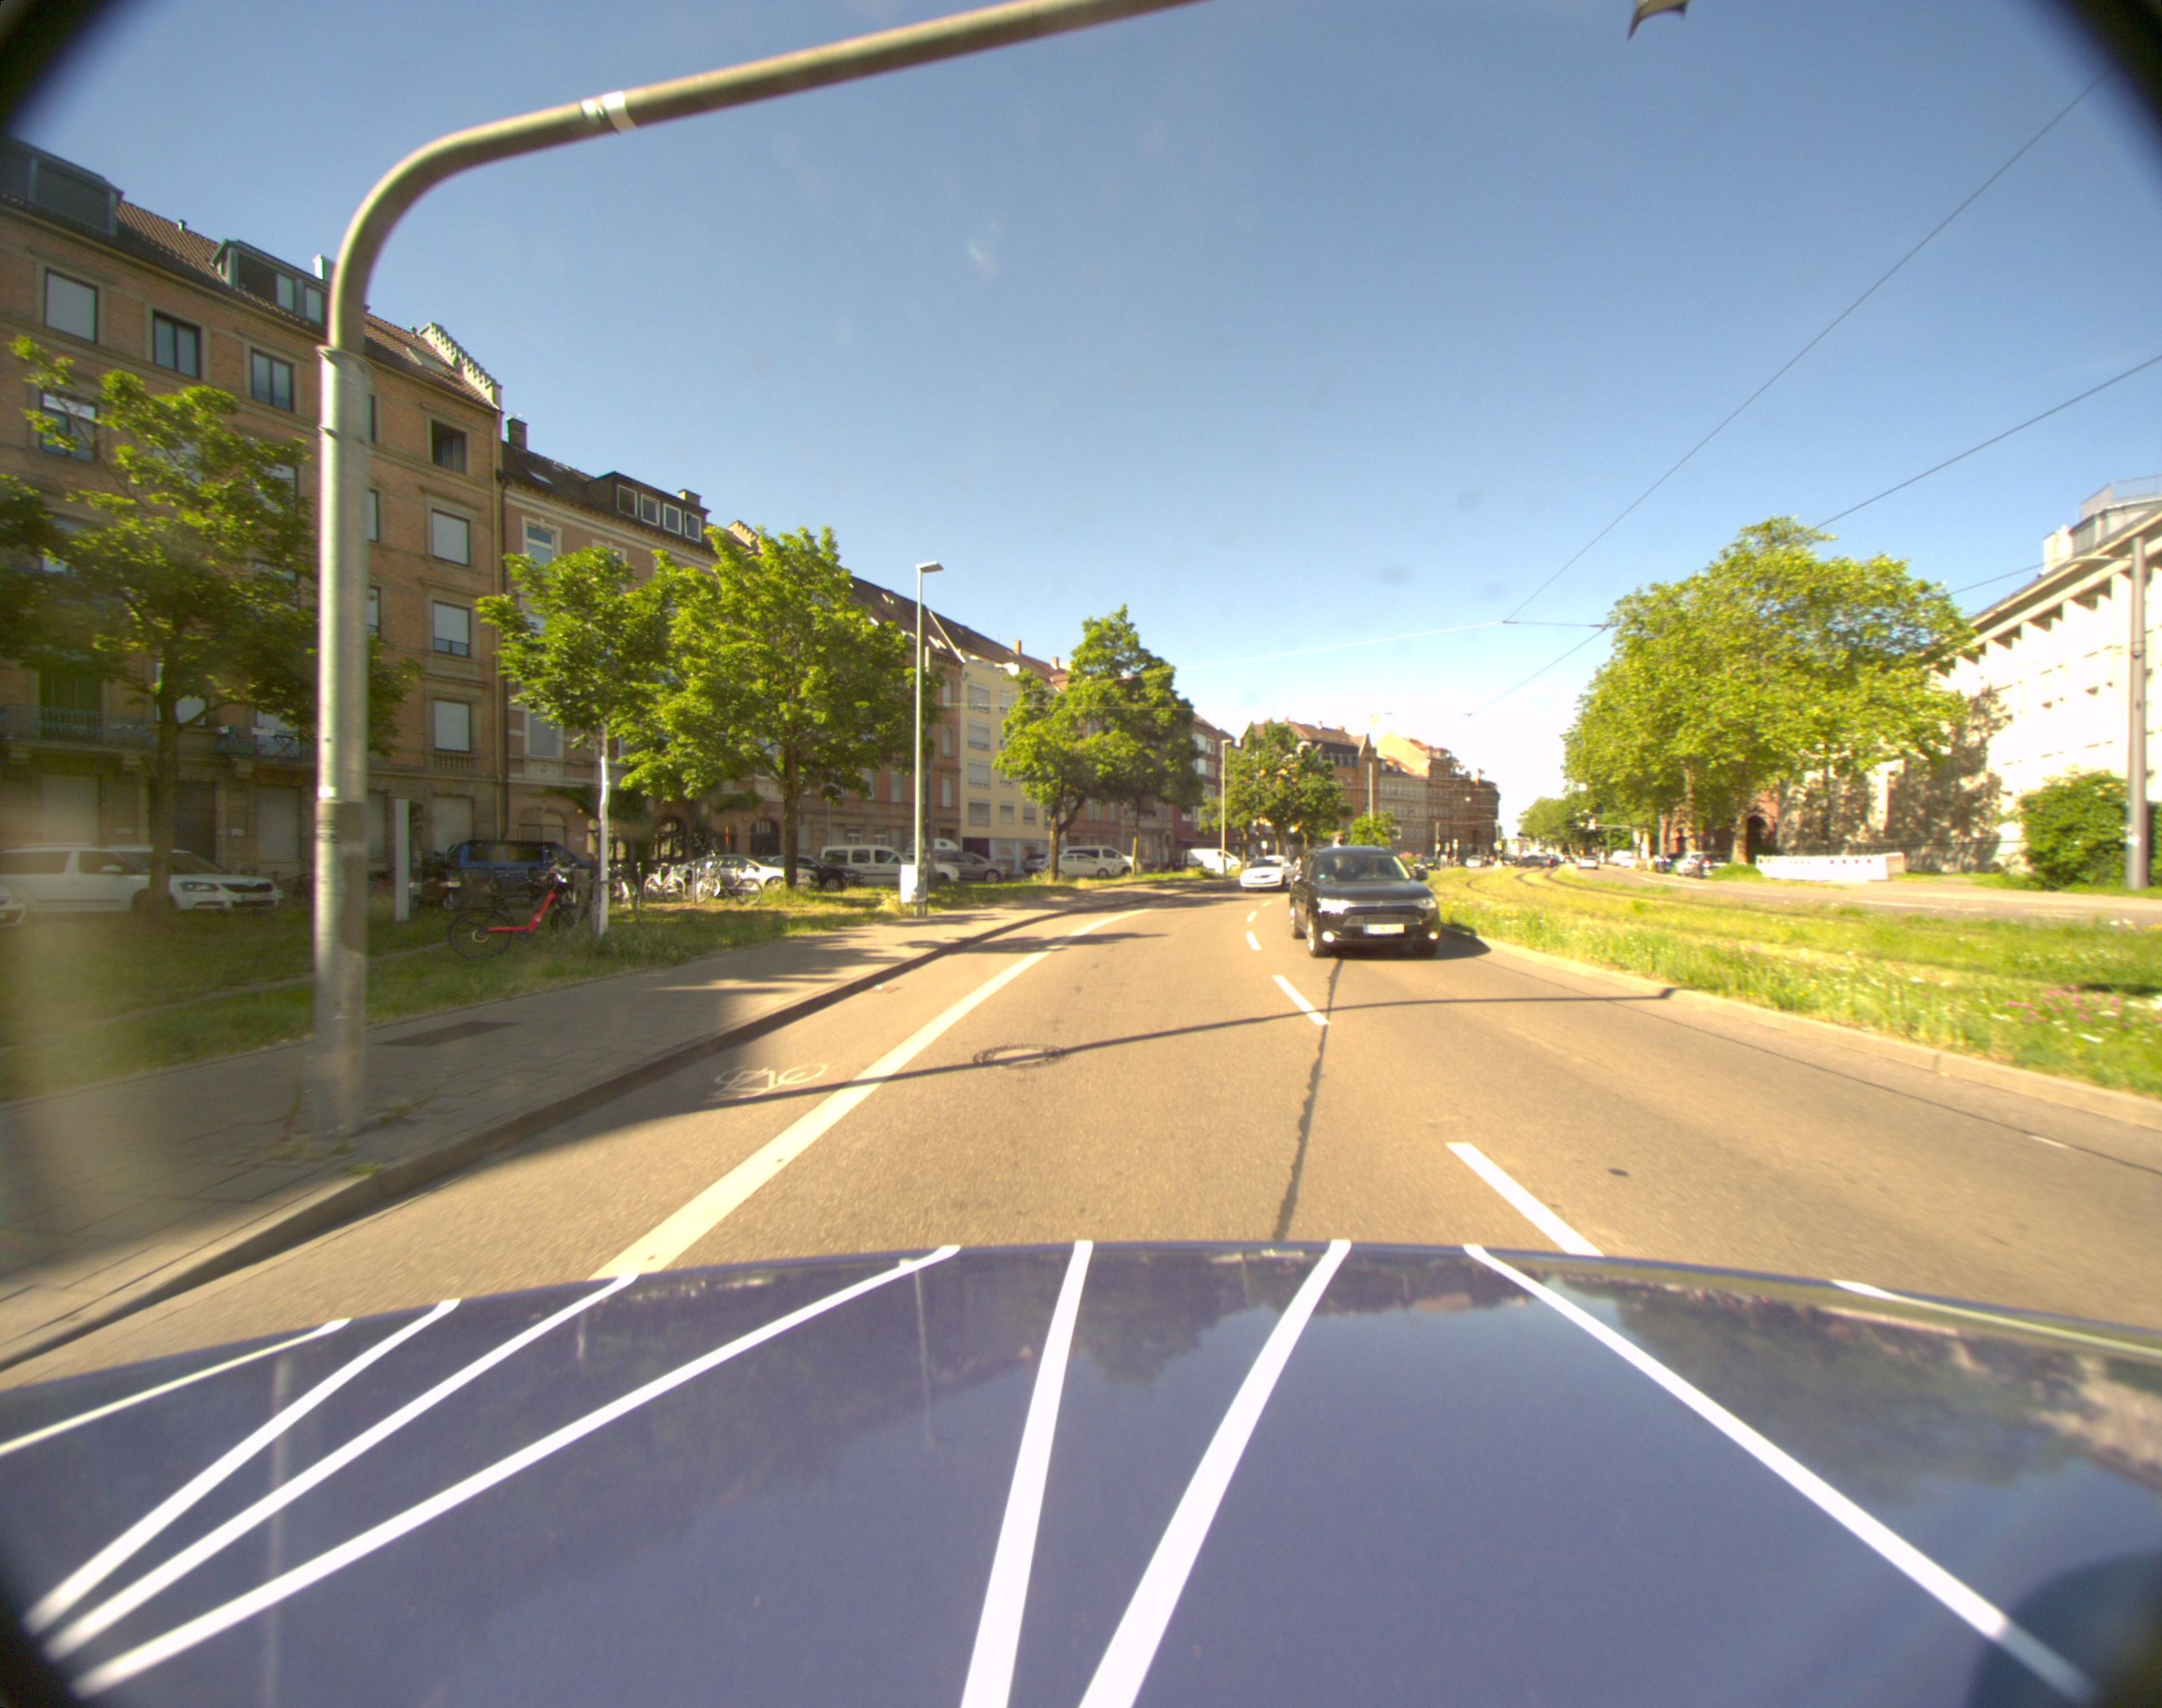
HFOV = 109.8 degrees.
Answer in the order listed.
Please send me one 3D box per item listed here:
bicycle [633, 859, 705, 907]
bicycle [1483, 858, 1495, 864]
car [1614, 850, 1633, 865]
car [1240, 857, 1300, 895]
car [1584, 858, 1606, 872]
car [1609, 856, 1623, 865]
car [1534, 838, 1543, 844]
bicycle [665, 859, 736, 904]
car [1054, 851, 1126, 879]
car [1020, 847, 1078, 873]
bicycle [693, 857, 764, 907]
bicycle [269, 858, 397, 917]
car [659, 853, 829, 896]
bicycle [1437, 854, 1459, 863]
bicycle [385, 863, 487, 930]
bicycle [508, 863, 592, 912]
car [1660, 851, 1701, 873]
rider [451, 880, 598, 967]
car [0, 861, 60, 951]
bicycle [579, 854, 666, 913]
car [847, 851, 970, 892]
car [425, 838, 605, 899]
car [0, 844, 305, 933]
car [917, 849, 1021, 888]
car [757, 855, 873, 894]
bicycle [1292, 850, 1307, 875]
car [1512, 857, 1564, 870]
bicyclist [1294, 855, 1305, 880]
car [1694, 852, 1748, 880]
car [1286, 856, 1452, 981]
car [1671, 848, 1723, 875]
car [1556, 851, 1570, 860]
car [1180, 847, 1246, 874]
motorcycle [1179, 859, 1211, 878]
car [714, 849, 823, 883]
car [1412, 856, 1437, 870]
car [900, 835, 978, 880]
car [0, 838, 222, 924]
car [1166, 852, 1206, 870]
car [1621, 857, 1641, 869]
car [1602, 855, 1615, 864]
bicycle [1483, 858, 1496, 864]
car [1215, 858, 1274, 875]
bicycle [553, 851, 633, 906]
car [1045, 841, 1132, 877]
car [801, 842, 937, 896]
[{"bbox_3d":[-11.148,0.759,20.561,1.958,1.185,0.843,1,1,32],"label":"bicycle"},{"bbox_3d":[74.349,1.263,138.457,0.656,1.053,1.798,0,1,-45],"label":"bicycle"},{"bbox_3d":[78.357,0.522,109.721,1.917,2.084,4.602,0,0,31],"label":"car"},{"bbox_3d":[8.835,0.989,35.331,1.798,1.626,4.402,0,0,26],"label":"car"},{"bbox_3d":[55.715,1.190,82.396,1.830,1.444,4.179,1,0,34],"label":"car"},{"bbox_3d":[89.591,1.053,127.327,1.791,1.542,4.316,0,0,33],"label":"car"},{"bbox_3d":[118.770,-3.462,197.310,1.794,1.420,4.385,0,0,33],"label":"car"},{"bbox_3d":[-10.713,0.737,21.379,1.945,1.174,0.902,1,1,32],"label":"bicycle"},{"bbox_3d":[0.501,0.623,43.713,4.028,1.470,1.812,1,1,-1],"label":"car"},{"bbox_3d":[-2.315,0.451,56.348,1.994,1.789,4.636,2,0,32],"label":"car"},{"bbox_3d":[-9.290,0.738,20.064,1.599,1.282,0.769,1,0,-18],"label":"bicycle"},{"bbox_3d":[-17.790,0.783,18.114,2.100,1.357,0.787,-1,0,-8],"label":"bicycle"},{"bbox_3d":[-11.124,0.665,25.373,4.749,1.372,2.046,0,0,-1],"label":"car"},{"bbox_3d":[60.586,0.768,125.453,1.965,1.408,6.842,0,0,37],"label":"bicycle"},{"bbox_3d":[-14.212,0.912,16.743,2.095,1.390,0.788,-1,0,21],"label":"bicycle"},{"bbox_3d":[-13.222,0.820,18.905,2.163,1.151,0.824,-1,0,29],"label":"bicycle"},{"bbox_3d":[45.698,0.612,57.998,1.831,1.629,4.404,0,0,30],"label":"car"},{"bbox_3d":[-8.068,0.975,11.068,1.679,1.169,0.502,1,-1,-41],"label":"rider"},{"bbox_3d":[-19.239,0.843,12.021,3.840,1.433,1.760,0,0,1],"label":"car"},{"bbox_3d":[-11.063,0.690,18.315,2.094,1.357,0.789,-1,0,27],"label":"bicycle"},{"bbox_3d":[-7.521,0.743,33.445,4.875,1.638,2.101,1,1,3],"label":"car"},{"bbox_3d":[-20.087,0.501,27.179,1.994,1.966,4.734,2,0,33],"label":"car"},{"bbox_3d":[-17.921,0.618,14.410,4.467,1.556,1.938,0,0,1],"label":"car"},{"bbox_3d":[-5.242,0.659,36.025,4.508,1.718,2.000,1,1,3],"label":"car"},{"bbox_3d":[-9.726,0.732,28.035,3.612,1.372,1.925,0,0,-1],"label":"car"},{"bbox_3d":[14.146,0.556,49.222,0.438,1.629,1.943,0,0,32],"label":"bicycle"},{"bbox_3d":[53.909,1.111,89.722,1.839,1.444,4.948,0,0,-30],"label":"car"},{"bbox_3d":[14.144,0.878,49.196,0.438,1.629,0.781,0,0,33],"label":"bicyclist"},{"bbox_3d":[35.818,0.645,42.645,1.830,1.483,4.190,0,0,33],"label":"car"},{"bbox_3d":[4.512,0.892,12.617,1.839,1.672,4.647,-1,0,12],"label":"car"},{"bbox_3d":[39.180,0.458,48.416,1.831,1.578,4.404,1,0,29],"label":"car"},{"bbox_3d":[103.990,0.381,163.870,2.061,1.880,4.527,2,1,36],"label":"car"},{"bbox_3d":[10.643,0.516,61.592,4.878,2.063,2.020,1,0,-2],"label":"car"},{"bbox_3d":[8.830,1.104,58.747,2.263,1.412,0.853,1,0,-17],"label":"motorcycle"},{"bbox_3d":[-14.870,0.563,36.416,1.994,1.520,4.522,1,0,28],"label":"car"},{"bbox_3d":[34.150,0.883,75.527,1.886,1.419,4.385,-1,0,30],"label":"car"},{"bbox_3d":[-8.612,0.240,46.381,1.994,2.570,4.523,2,0,34],"label":"car"},{"bbox_3d":[-25.187,0.629,18.945,1.994,1.966,4.734,2,0,33],"label":"car"},{"bbox_3d":[10.435,0.661,75.419,1.995,1.465,4.498,-7,-2,35],"label":"car"},{"bbox_3d":[73.158,1.231,101.101,1.776,1.564,3.685,0,-1,29],"label":"car"},{"bbox_3d":[95.357,0.954,137.343,1.791,1.542,4.316,0,0,33],"label":"car"},{"bbox_3d":[73.590,1.257,136.870,0.846,1.130,1.915,0,1,-42],"label":"bicycle"},{"bbox_3d":[14.556,1.092,67.849,4.877,1.426,2.020,1,0,-1],"label":"car"},{"bbox_3d":[-12.700,0.623,19.754,2.094,1.357,0.789,-1,0,27],"label":"bicycle"},{"bbox_3d":[0.503,0.287,46.459,5.182,2.001,2.101,1,1,3],"label":"car"},{"bbox_3d":[-8.425,0.564,30.575,4.877,2.001,2.100,1,1,-2],"label":"car"}]
